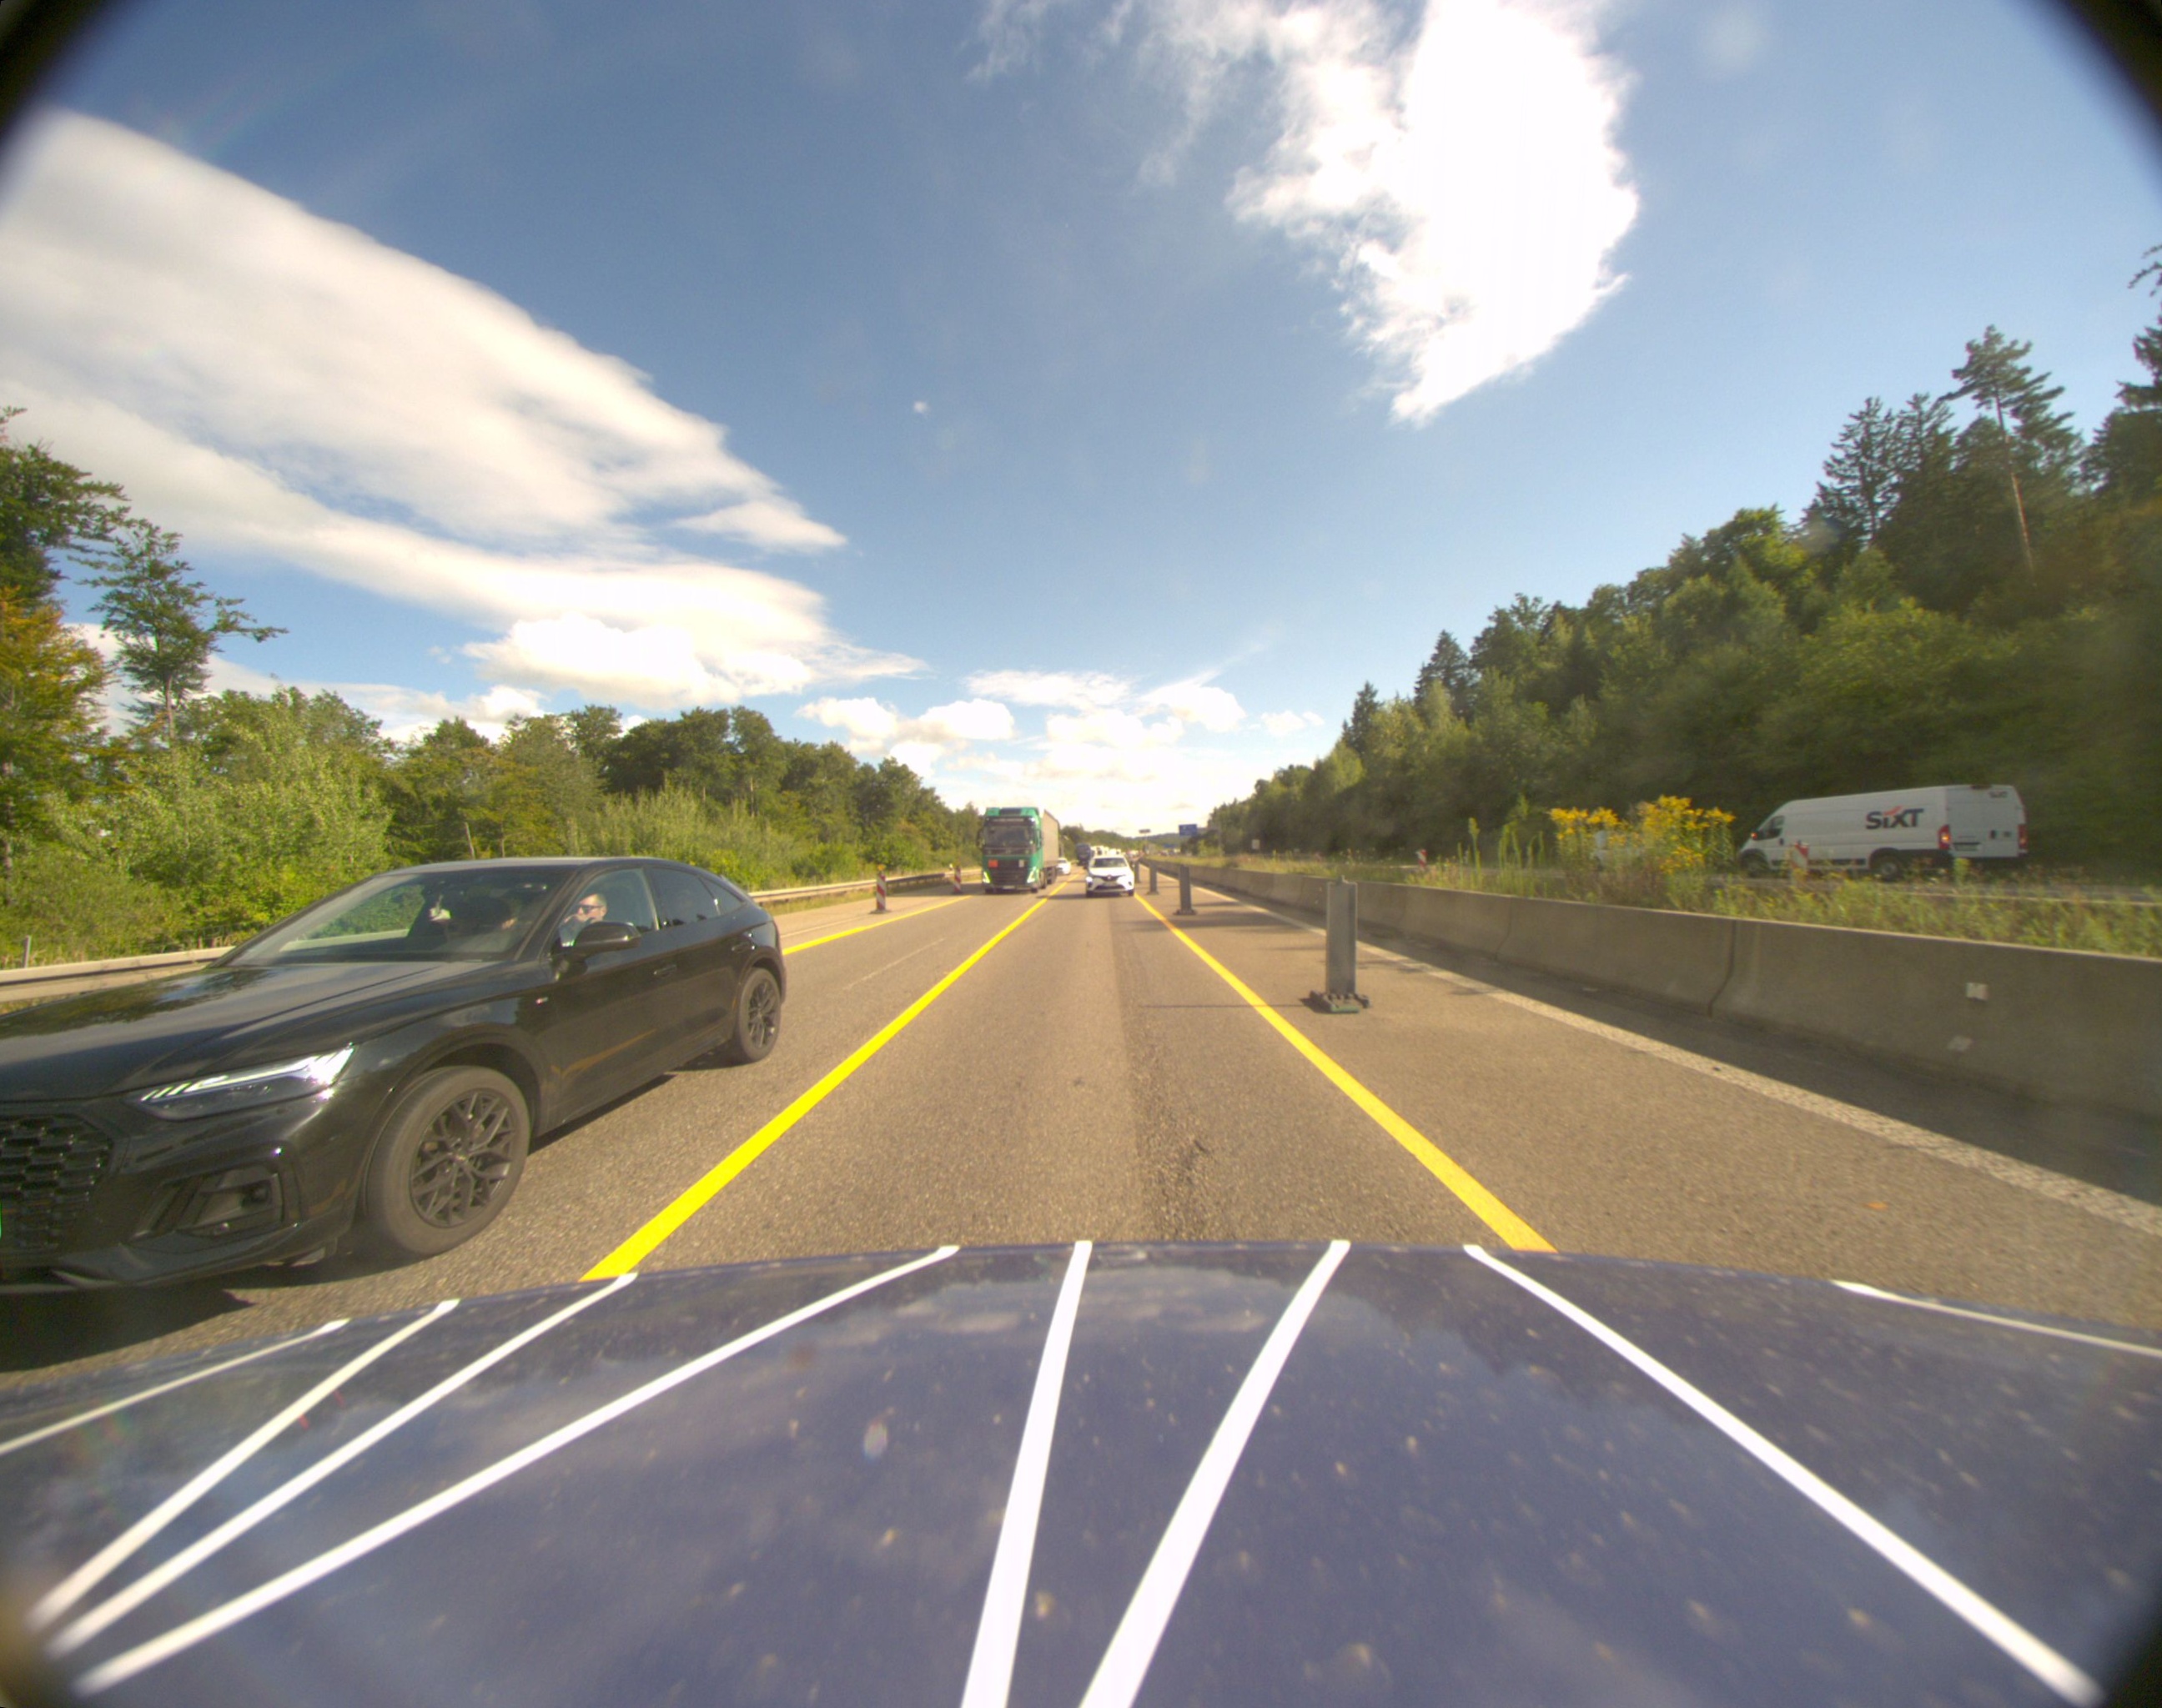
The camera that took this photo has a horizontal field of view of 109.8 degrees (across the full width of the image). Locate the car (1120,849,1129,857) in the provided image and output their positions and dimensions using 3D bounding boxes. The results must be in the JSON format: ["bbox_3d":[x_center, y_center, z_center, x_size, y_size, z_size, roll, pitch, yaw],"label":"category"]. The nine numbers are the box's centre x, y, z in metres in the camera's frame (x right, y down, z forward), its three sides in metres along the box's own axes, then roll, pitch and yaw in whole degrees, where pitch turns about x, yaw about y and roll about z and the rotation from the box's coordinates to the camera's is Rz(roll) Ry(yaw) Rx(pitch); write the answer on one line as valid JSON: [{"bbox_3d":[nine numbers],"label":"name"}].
[{"bbox_3d":[11.235,-0.308,195.487,1.998,2.002,4.001,-2,1,4],"label":"car"}]

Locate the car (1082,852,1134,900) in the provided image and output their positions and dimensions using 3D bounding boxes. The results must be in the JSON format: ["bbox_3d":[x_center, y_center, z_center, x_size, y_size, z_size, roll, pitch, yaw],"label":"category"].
[{"bbox_3d":[1.032,0.788,28.813,1.782,1.593,4.018,-2,1,2],"label":"car"}]

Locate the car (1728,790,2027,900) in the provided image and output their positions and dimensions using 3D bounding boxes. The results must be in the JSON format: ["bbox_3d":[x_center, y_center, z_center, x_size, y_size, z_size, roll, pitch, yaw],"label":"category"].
[{"bbox_3d":[22.636,-0.247,22.204,2.033,2.669,6.523,-2,1,2],"label":"car"}]

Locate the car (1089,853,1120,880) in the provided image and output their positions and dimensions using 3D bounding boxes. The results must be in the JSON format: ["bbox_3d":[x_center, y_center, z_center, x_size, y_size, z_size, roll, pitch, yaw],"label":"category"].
[{"bbox_3d":[1.427,0.710,45.965,1.782,1.468,4.018,-2,1,2],"label":"car"}]

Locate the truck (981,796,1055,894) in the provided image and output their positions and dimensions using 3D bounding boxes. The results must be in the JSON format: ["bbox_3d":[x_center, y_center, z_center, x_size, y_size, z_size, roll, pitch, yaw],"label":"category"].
[{"bbox_3d":[-2.811,-0.409,35.725,2.527,4.075,6.856,-2,1,2],"label":"truck"}]

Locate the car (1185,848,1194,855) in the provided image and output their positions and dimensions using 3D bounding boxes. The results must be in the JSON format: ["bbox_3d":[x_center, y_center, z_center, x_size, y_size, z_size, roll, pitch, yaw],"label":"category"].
[{"bbox_3d":[28.592,-0.566,199.688,1.782,1.775,4.365,-2,1,2],"label":"car"}]

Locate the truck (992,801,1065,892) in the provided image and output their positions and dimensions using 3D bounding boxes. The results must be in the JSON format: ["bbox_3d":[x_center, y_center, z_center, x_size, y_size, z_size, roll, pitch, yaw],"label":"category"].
[{"bbox_3d":[-2.582,-0.330,42.134,2.470,4.119,14.212,-2,0,2],"label":"truck"}]

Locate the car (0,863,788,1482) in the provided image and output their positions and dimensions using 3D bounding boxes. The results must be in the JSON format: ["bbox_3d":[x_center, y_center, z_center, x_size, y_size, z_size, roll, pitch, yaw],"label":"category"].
[{"bbox_3d":[-3.411,0.927,4.225,1.782,1.593,4.293,-2,1,1],"label":"car"}]

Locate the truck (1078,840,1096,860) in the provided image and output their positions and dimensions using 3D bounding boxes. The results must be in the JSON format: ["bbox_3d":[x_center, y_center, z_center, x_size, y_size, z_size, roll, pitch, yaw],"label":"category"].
[{"bbox_3d":[1.124,-0.714,130.623,2.576,3.167,6.803,-2,1,4],"label":"truck"}]

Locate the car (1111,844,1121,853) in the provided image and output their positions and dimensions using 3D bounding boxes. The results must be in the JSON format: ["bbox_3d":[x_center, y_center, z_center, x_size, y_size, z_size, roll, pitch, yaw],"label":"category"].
[{"bbox_3d":[7.746,-1.182,167.768,1.998,2.002,4.000,-2,1,2],"label":"car"}]

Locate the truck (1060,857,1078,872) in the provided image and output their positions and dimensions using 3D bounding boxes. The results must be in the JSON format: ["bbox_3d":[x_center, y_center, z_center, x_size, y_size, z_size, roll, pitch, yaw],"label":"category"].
[{"bbox_3d":[-1.005,0.896,65.827,1.468,1.215,3.087,-2,1,-1],"label":"truck"}]

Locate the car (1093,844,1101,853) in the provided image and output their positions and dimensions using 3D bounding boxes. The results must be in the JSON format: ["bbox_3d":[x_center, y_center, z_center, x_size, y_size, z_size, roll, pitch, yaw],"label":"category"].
[{"bbox_3d":[3.429,-1.256,161.515,1.750,1.787,4.000,-2,1,2],"label":"car"}]

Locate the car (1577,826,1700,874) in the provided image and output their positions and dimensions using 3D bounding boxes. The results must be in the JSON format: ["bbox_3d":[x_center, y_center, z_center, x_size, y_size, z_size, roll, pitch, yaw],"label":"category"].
[{"bbox_3d":[23.576,-0.176,32.396,1.865,1.843,4.762,-2,1,2],"label":"car"}]
